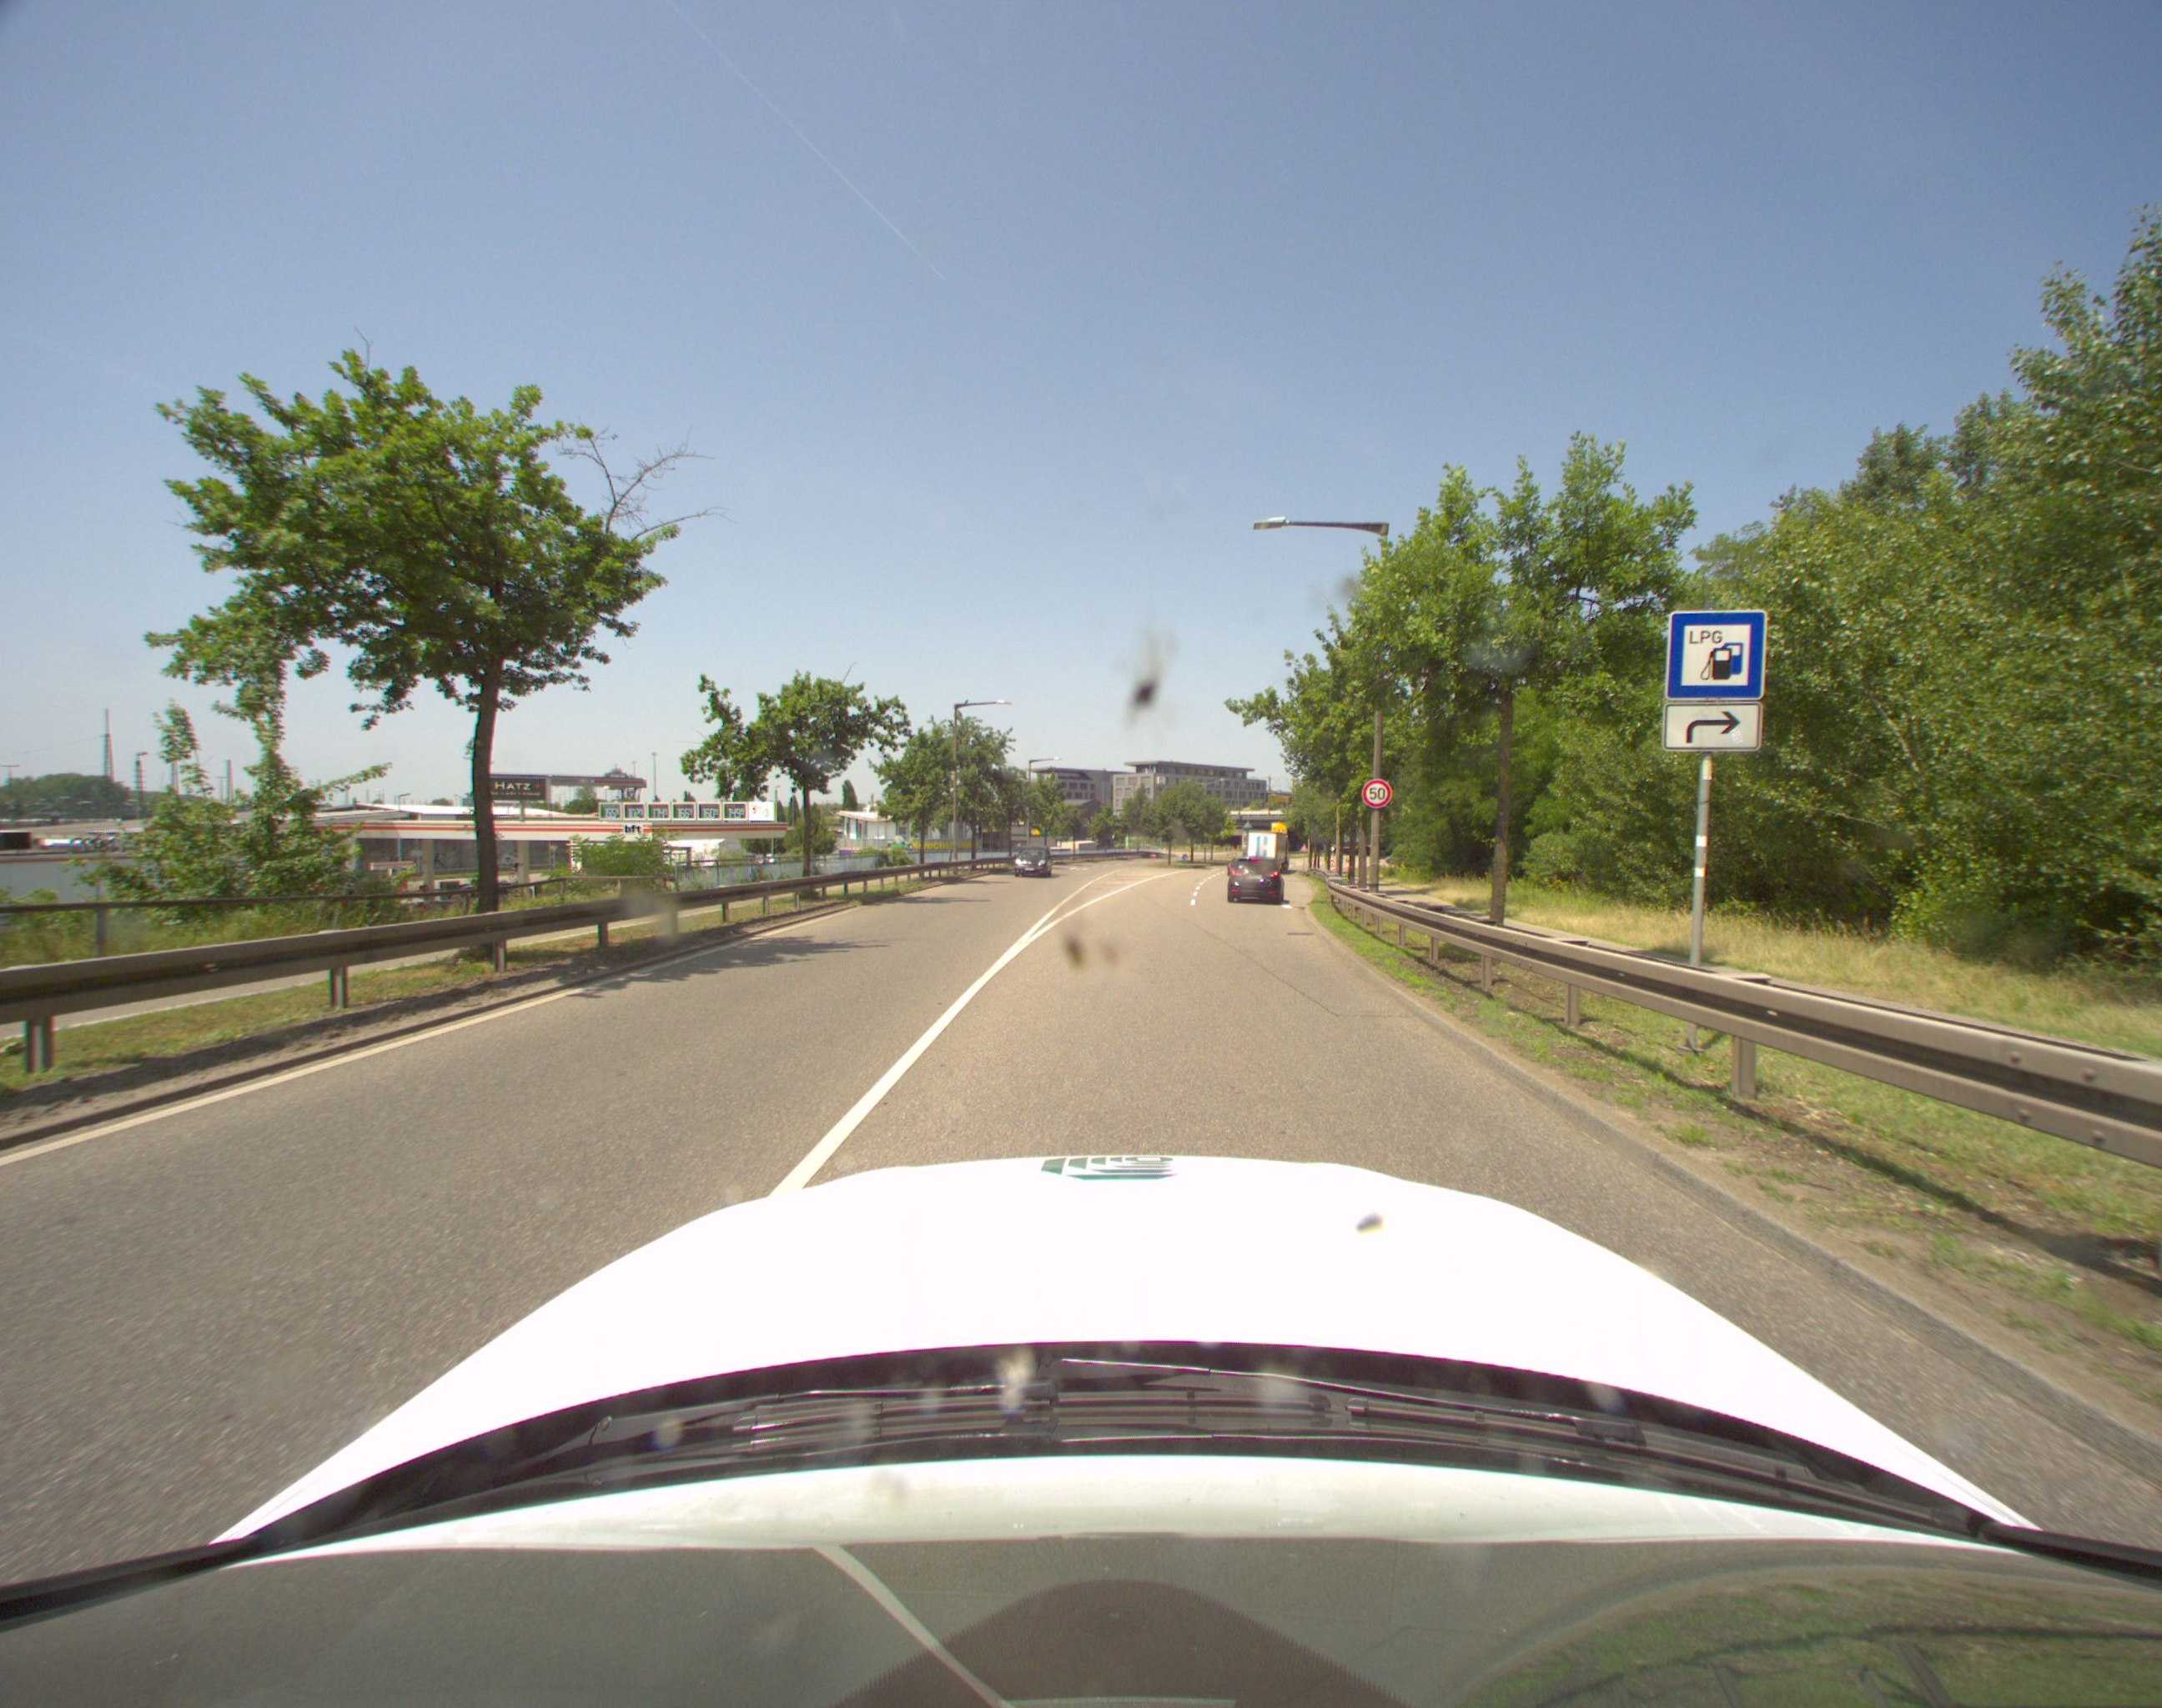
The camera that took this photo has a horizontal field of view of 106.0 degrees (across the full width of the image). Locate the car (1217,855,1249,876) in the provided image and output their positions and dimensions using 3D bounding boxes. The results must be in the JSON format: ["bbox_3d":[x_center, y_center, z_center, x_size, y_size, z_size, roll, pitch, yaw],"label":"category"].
[{"bbox_3d":[12.113,0.885,64.781,1.941,1.633,4.300,0,0,19],"label":"car"}]

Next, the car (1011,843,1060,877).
[{"bbox_3d":[-2.503,0.311,46.145,1.796,1.759,4.264,1,0,10],"label":"car"}]

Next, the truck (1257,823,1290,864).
[{"bbox_3d":[21.228,-1.173,89.710,3.052,4.367,6.106,1,2,17],"label":"truck"}]

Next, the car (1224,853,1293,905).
[{"bbox_3d":[6.245,0.817,28.319,1.752,1.599,4.097,2,0,20],"label":"car"}]

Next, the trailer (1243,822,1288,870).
[{"bbox_3d":[18.757,-0.951,81.940,3.054,4.367,14.845,1,2,18],"label":"trailer"}]
